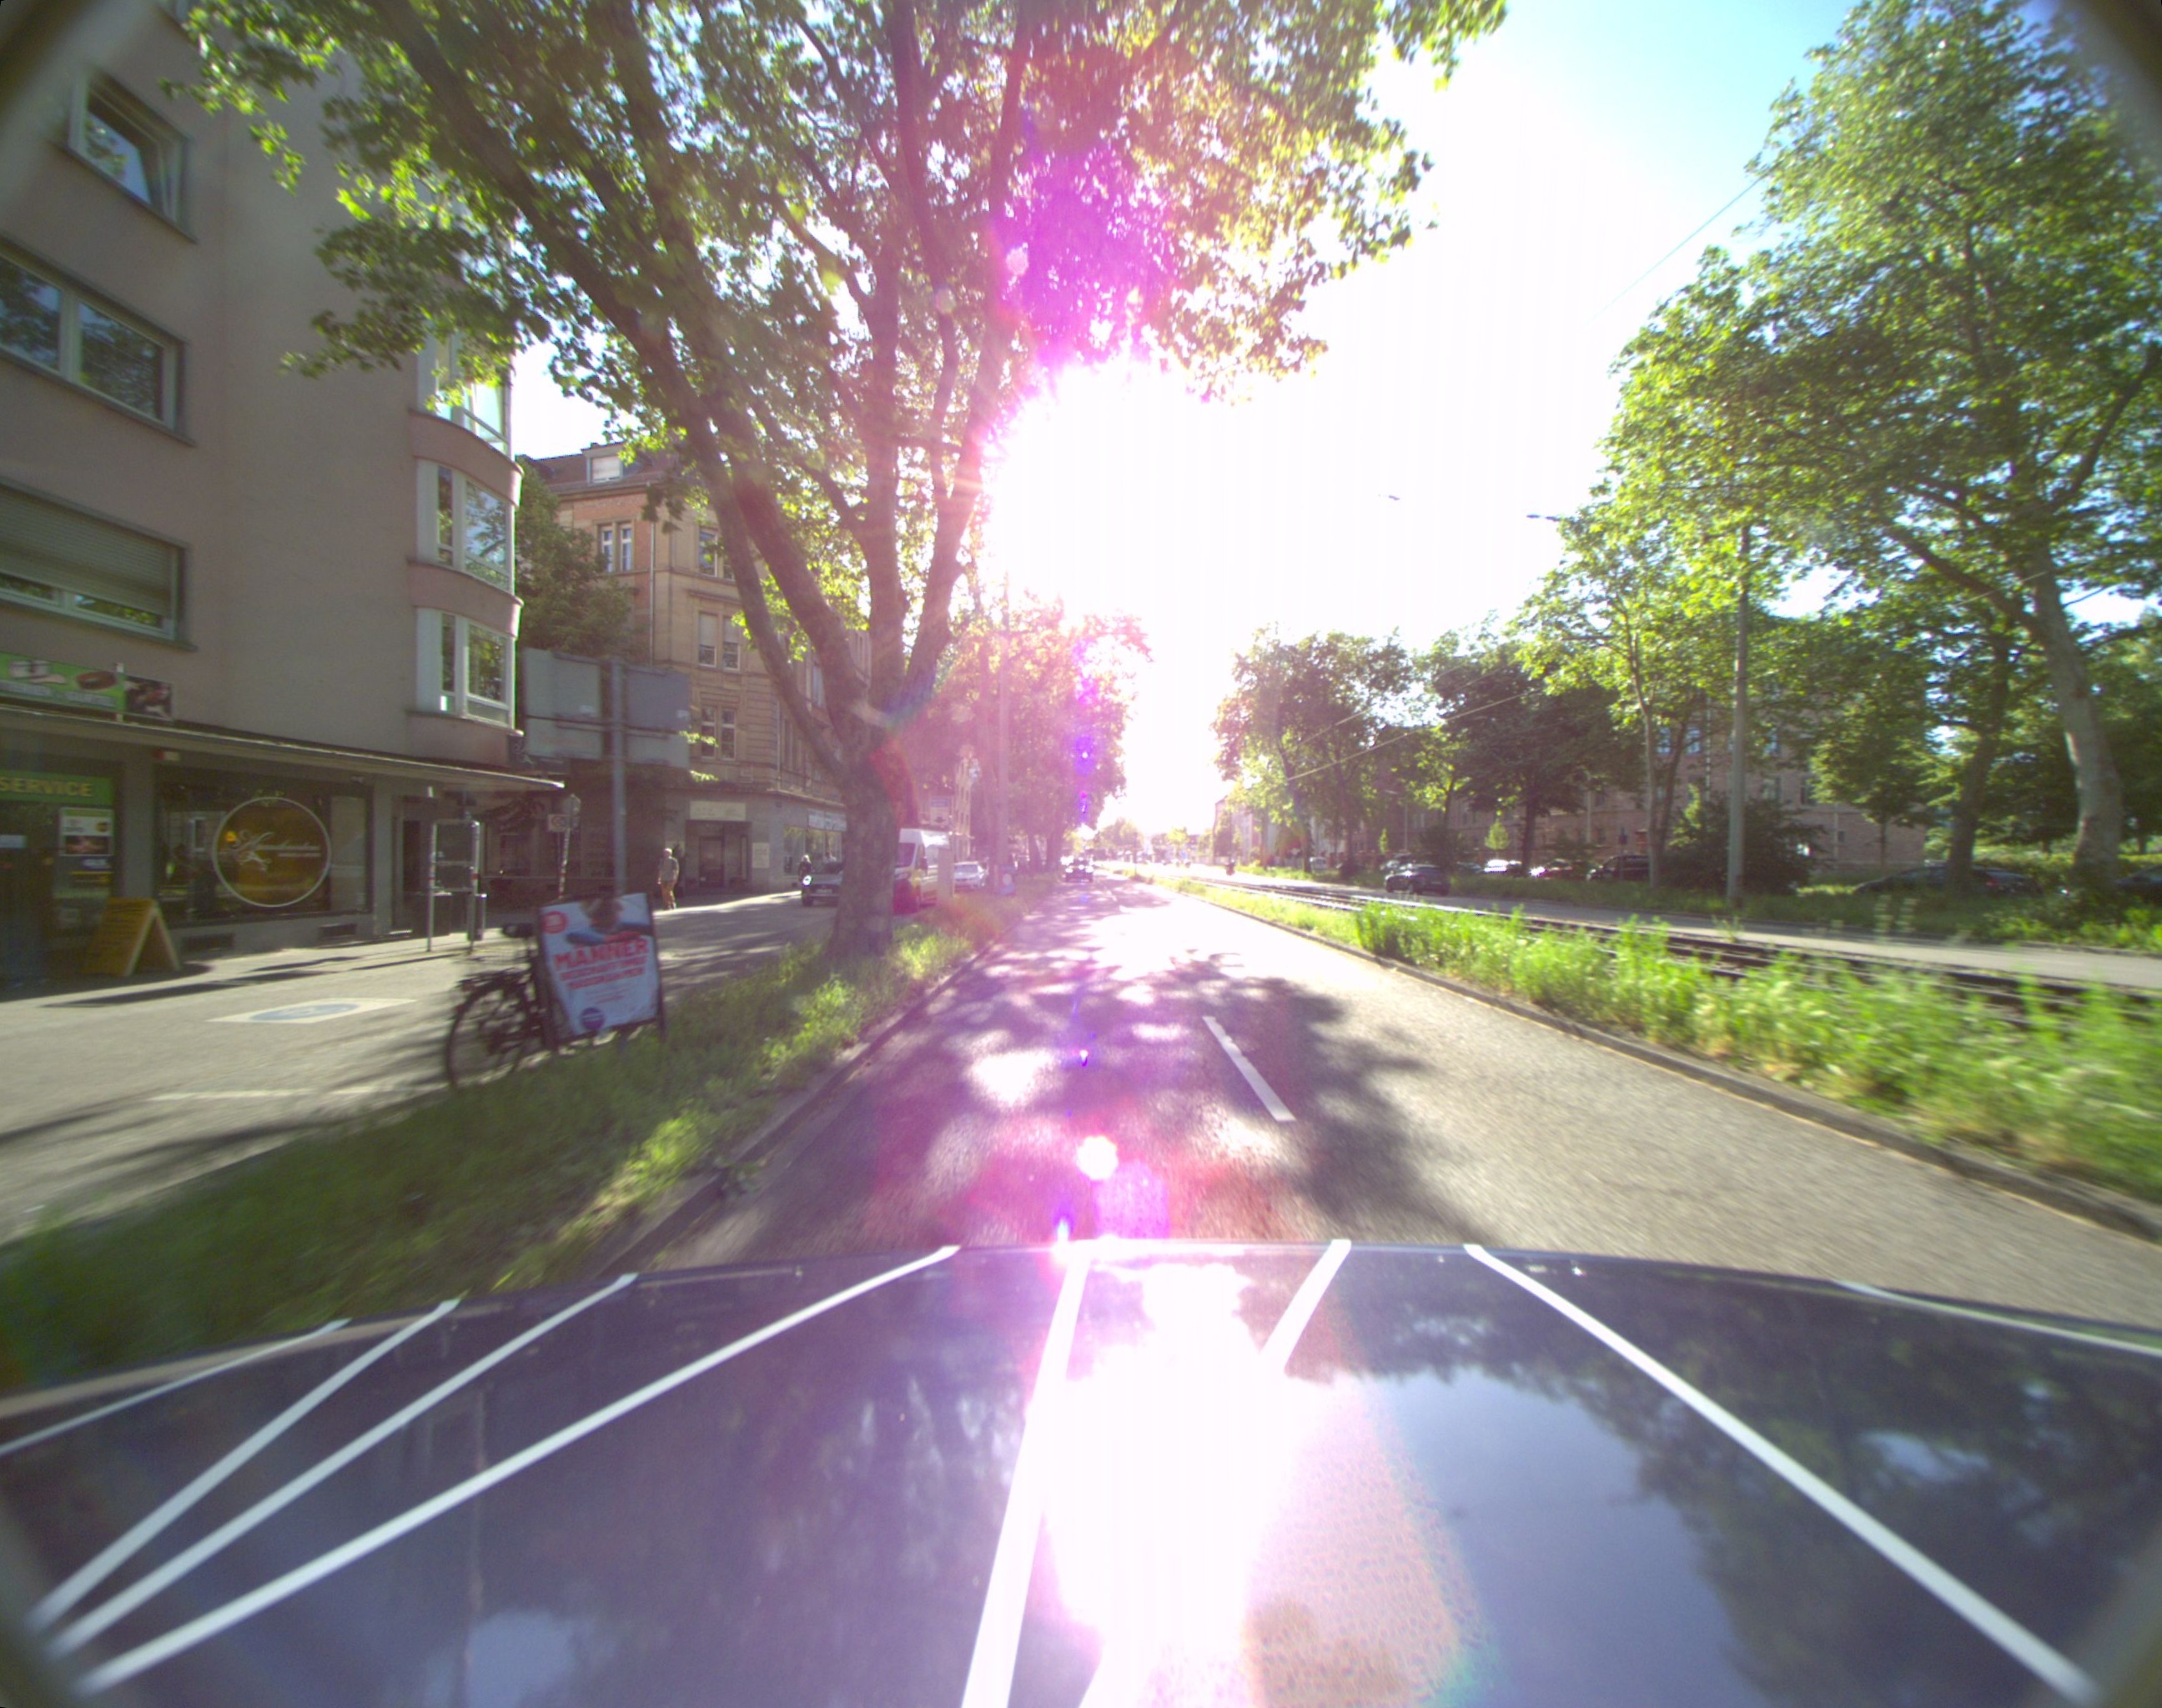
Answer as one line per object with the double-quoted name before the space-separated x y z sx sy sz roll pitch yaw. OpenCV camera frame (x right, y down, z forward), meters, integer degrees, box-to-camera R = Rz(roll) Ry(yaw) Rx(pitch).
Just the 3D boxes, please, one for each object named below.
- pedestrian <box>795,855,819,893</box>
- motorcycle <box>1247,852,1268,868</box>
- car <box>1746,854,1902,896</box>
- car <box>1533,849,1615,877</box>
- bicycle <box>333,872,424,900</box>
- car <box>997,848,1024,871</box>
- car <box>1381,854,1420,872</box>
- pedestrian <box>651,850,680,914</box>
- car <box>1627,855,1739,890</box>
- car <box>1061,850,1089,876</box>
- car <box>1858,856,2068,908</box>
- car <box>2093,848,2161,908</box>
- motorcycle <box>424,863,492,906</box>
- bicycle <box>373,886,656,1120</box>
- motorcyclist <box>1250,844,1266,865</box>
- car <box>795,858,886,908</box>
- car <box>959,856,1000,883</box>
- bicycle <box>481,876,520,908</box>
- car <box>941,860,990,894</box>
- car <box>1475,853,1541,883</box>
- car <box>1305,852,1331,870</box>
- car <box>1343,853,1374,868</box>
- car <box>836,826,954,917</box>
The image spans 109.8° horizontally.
"pedestrian" -11.593 0.835 32.151 0.738 1.556 0.731 0 0 1
"motorcycle" 23.649 0.755 101.798 1.729 2.045 3.999 0 0 -1
"car" 27.832 0.750 28.682 1.998 1.477 4.000 0 0 1
"car" 27.309 0.493 42.253 1.998 1.477 4.000 0 0 1
"bicycle" -25.322 1.144 27.438 2.376 0.941 0.529 0 0 -43
"car" -5.602 0.419 60.389 1.714 1.732 3.927 -1 0 1
"car" 26.986 0.751 64.313 1.771 1.477 3.688 0 0 1
"pedestrian" -12.050 0.803 22.055 0.615 1.805 0.630 0 1 -15
"car" 27.478 0.805 34.859 1.998 1.477 4.000 0 0 1
"car" -0.380 0.590 54.659 1.877 1.788 4.633 0 0 1
"car" 27.537 0.824 23.972 1.998 1.477 4.000 0 0 1
"car" 27.681 0.602 18.033 1.998 1.477 4.000 0 0 1
"motorcycle" -21.955 1.039 26.879 0.969 1.393 3.194 0 0 -22
"bicycle" -3.590 0.850 5.030 0.466 1.207 1.751 0 0 4
"motorcyclist" 23.696 0.072 101.922 1.747 2.905 1.680 0 0 0
"car" -8.157 0.928 26.180 1.815 1.592 4.136 0 0 0
"car" -5.650 0.848 42.594 1.752 1.455 4.000 0 0 0
"bicycle" -19.707 1.275 25.839 0.543 0.999 1.901 0 0 -22
"car" -5.510 1.057 36.635 1.649 1.503 4.189 -1 0 1
"car" 27.144 0.864 48.447 1.998 1.838 4.000 0 0 1
"car" 26.754 0.738 85.769 1.998 2.002 4.001 0 0 4
"car" 27.152 0.627 74.500 1.771 1.477 3.688 0 0 1
"car" -5.449 0.469 23.205 2.079 2.420 5.856 -1 0 1
